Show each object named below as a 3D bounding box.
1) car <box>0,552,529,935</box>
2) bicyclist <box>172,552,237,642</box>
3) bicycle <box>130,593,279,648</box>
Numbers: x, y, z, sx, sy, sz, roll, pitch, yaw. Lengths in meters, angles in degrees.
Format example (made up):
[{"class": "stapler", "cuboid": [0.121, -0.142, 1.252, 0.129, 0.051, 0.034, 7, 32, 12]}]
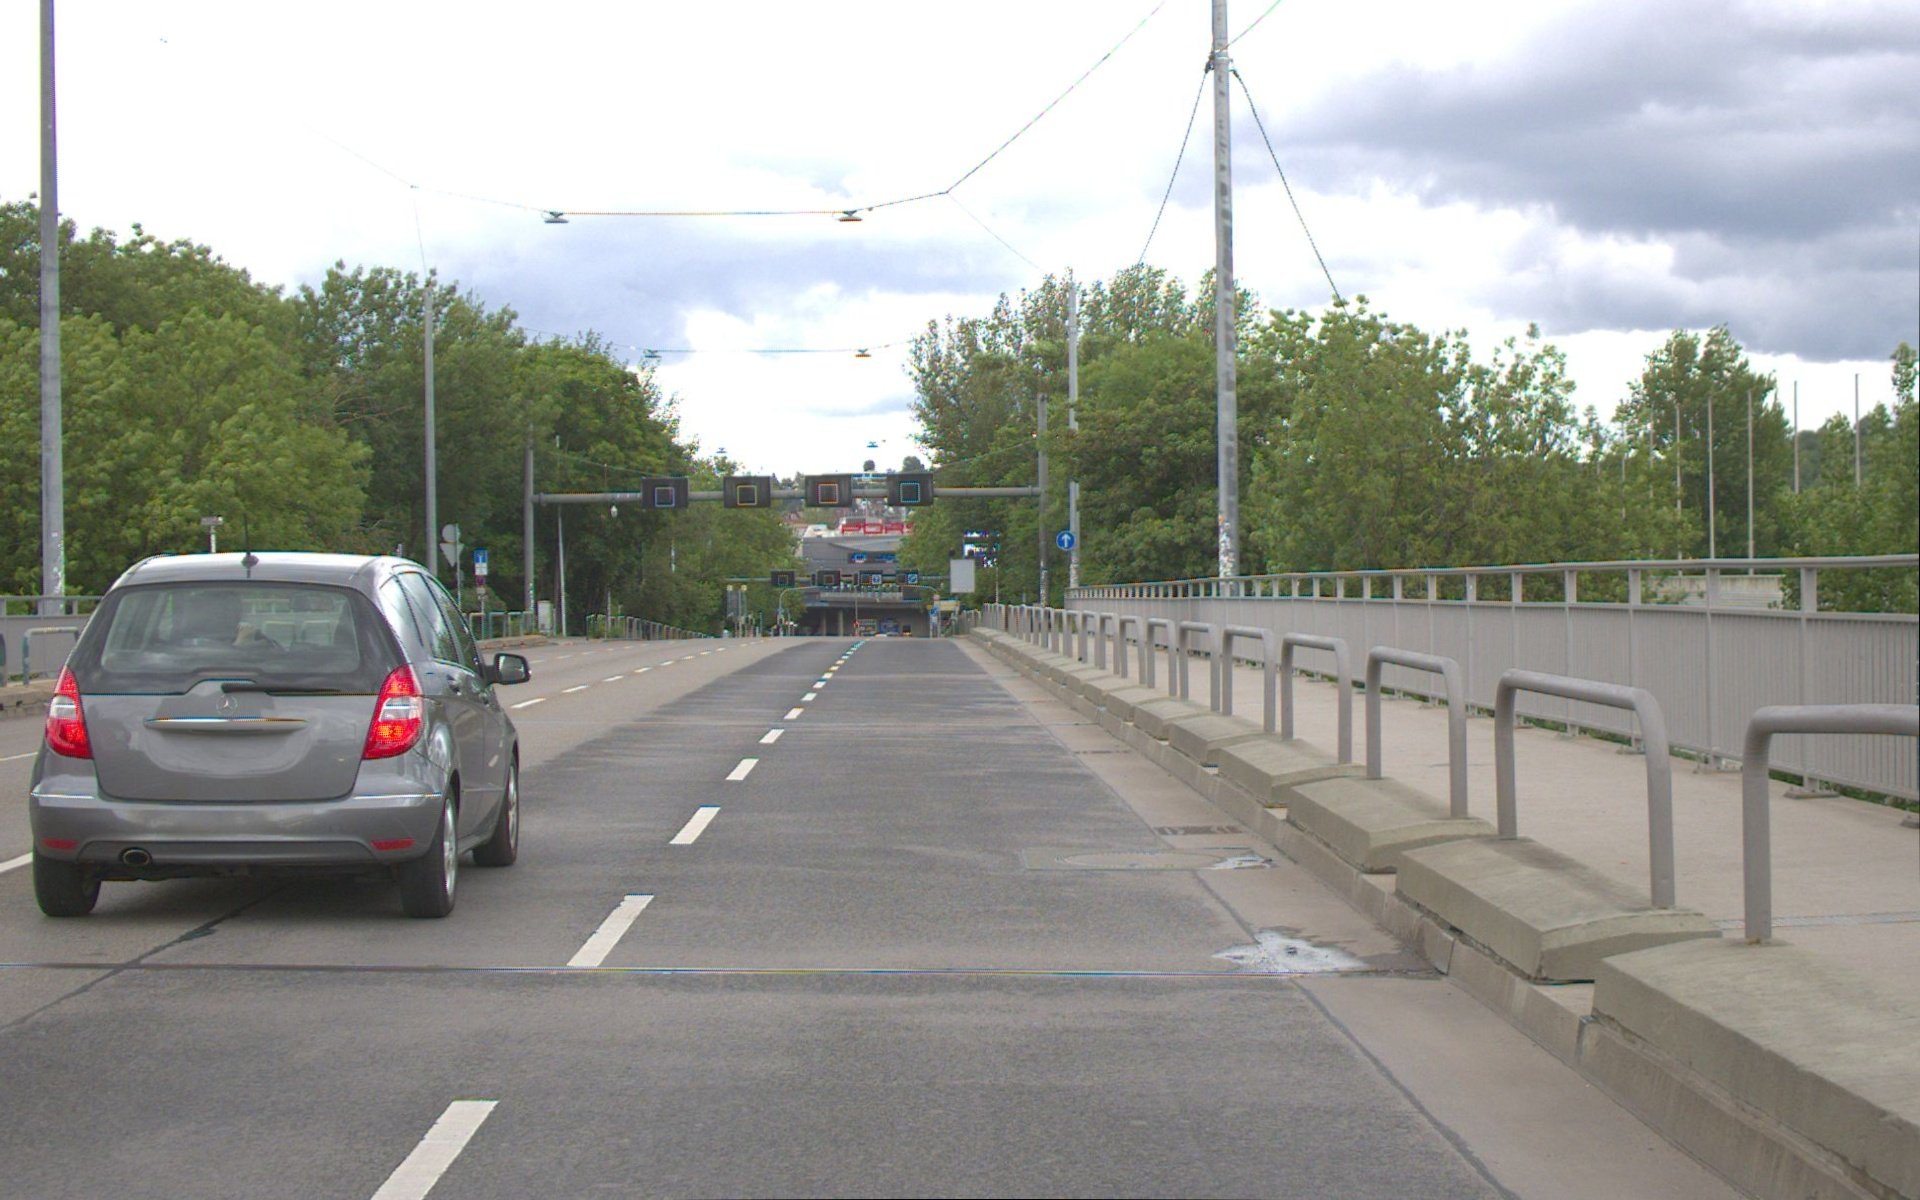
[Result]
[{"class": "car", "cuboid": [-3.066, 0.559, 15.857, 1.745, 1.545, 3.871, 0, 1, -1]}, {"class": "bicyclist", "cuboid": [-14.930, -0.055, 67.960, 1.132, 1.758, 0.905, 0, 0, -6]}, {"class": "bicycle", "cuboid": [-14.923, 0.399, 67.957, 2.790, 1.047, 0.921, 0, 0, -6]}]
